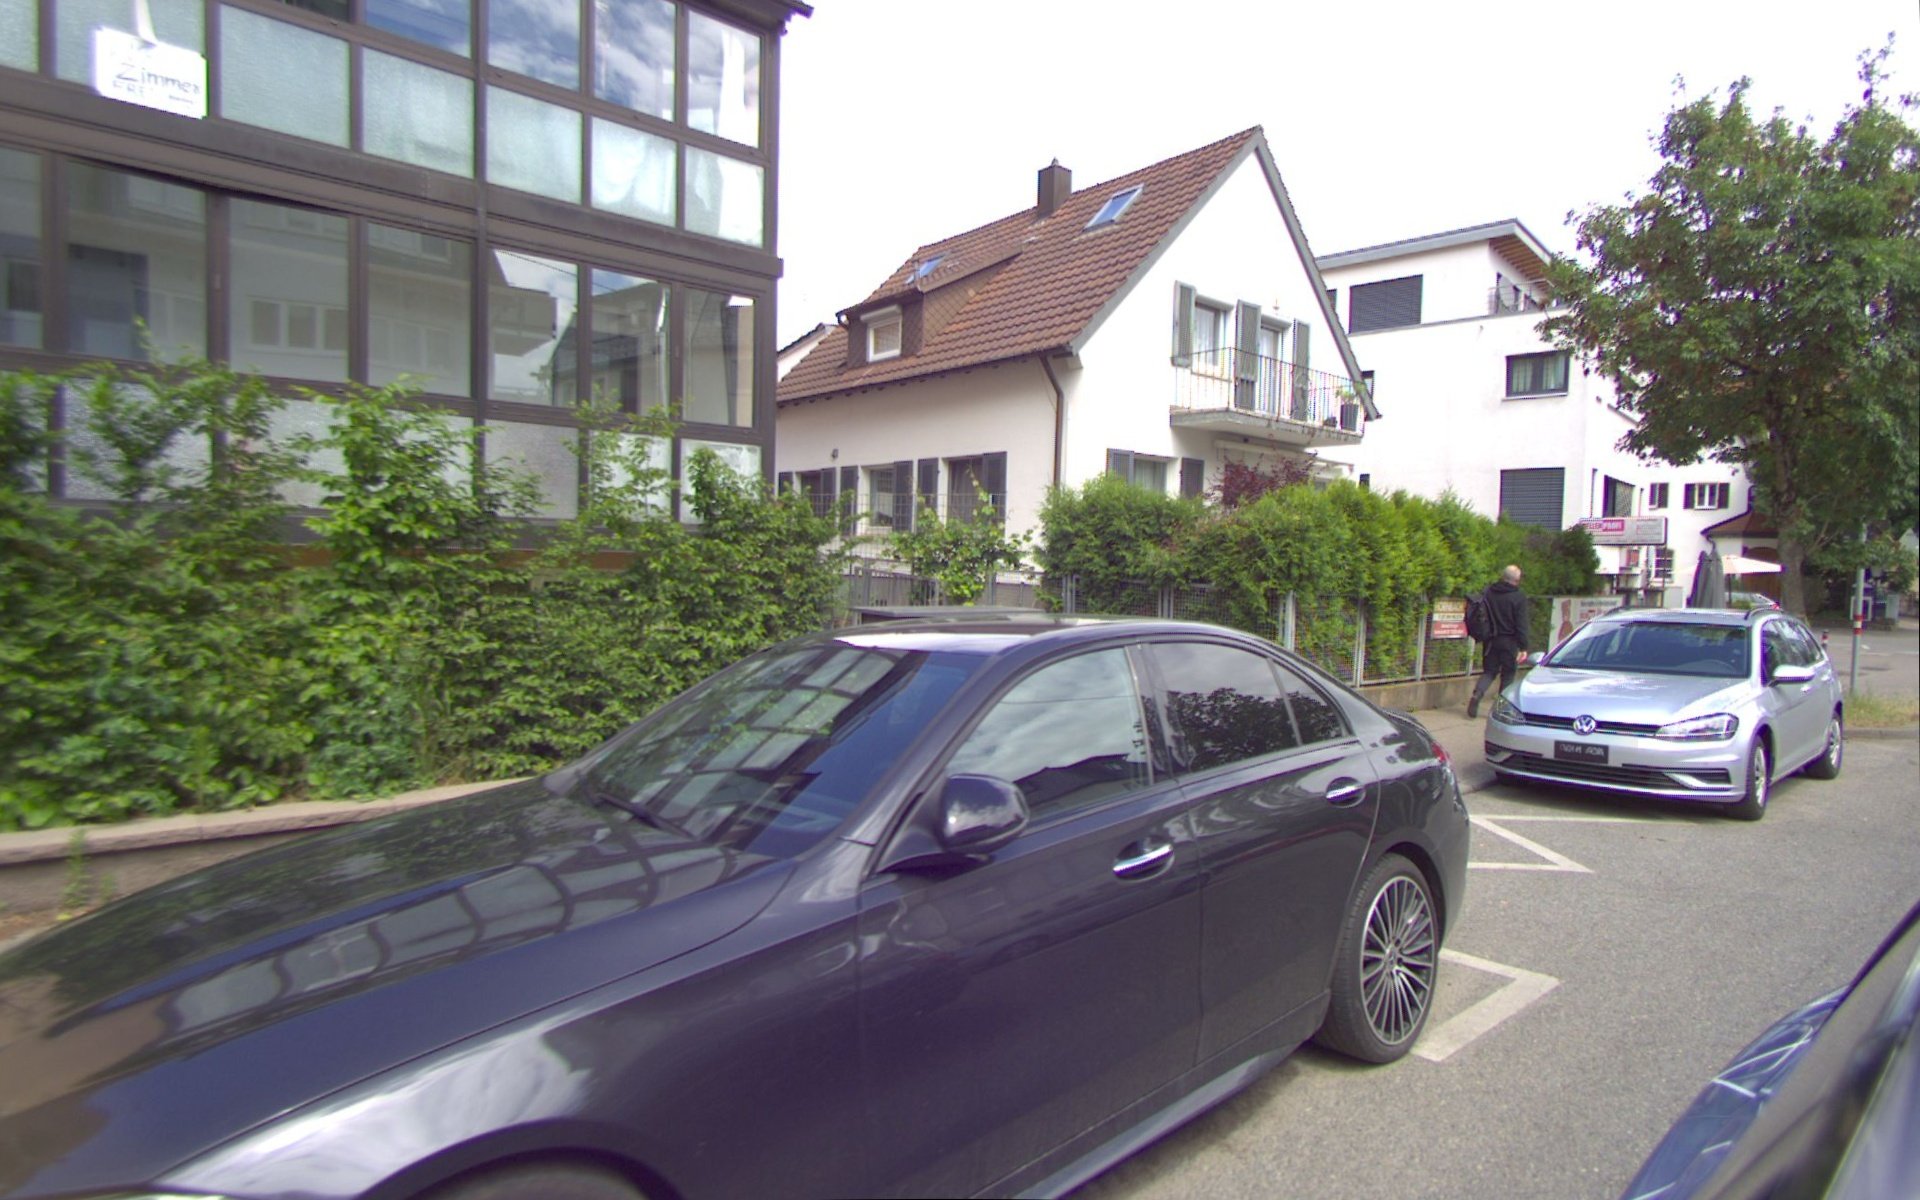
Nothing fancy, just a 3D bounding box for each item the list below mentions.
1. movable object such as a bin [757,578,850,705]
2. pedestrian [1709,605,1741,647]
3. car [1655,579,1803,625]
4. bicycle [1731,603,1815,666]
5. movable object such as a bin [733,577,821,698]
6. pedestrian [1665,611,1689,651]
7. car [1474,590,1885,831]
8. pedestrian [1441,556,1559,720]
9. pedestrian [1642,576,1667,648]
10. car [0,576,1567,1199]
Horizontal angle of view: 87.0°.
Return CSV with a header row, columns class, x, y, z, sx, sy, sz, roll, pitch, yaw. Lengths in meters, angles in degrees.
class,x,y,z,sx,sy,sz,roll,pitch,yaw
movable object such as a bin,-1.523,0.381,9.847,0.713,1.173,0.550,-1,2,-36
pedestrian,21.258,0.711,28.129,0.562,1.102,0.629,1,2,25
car,28.279,0.060,37.390,4.157,1.433,1.758,4,2,34
bicycle,16.429,0.670,20.429,2.171,1.164,0.723,-1,2,-35
movable object such as a bin,-1.863,0.360,10.303,0.713,1.173,0.550,-1,2,-36
pedestrian,17.974,0.770,25.388,0.416,0.950,0.493,1,2,29
car,6.261,0.686,8.552,4.786,1.499,1.704,0,1,-40
pedestrian,6.026,0.378,11.298,0.827,1.733,0.883,-1,2,-39
pedestrian,17.505,0.298,25.514,0.425,1.783,0.669,1,2,29
car,0.002,0.707,3.105,4.796,1.447,1.737,0,-1,-40
